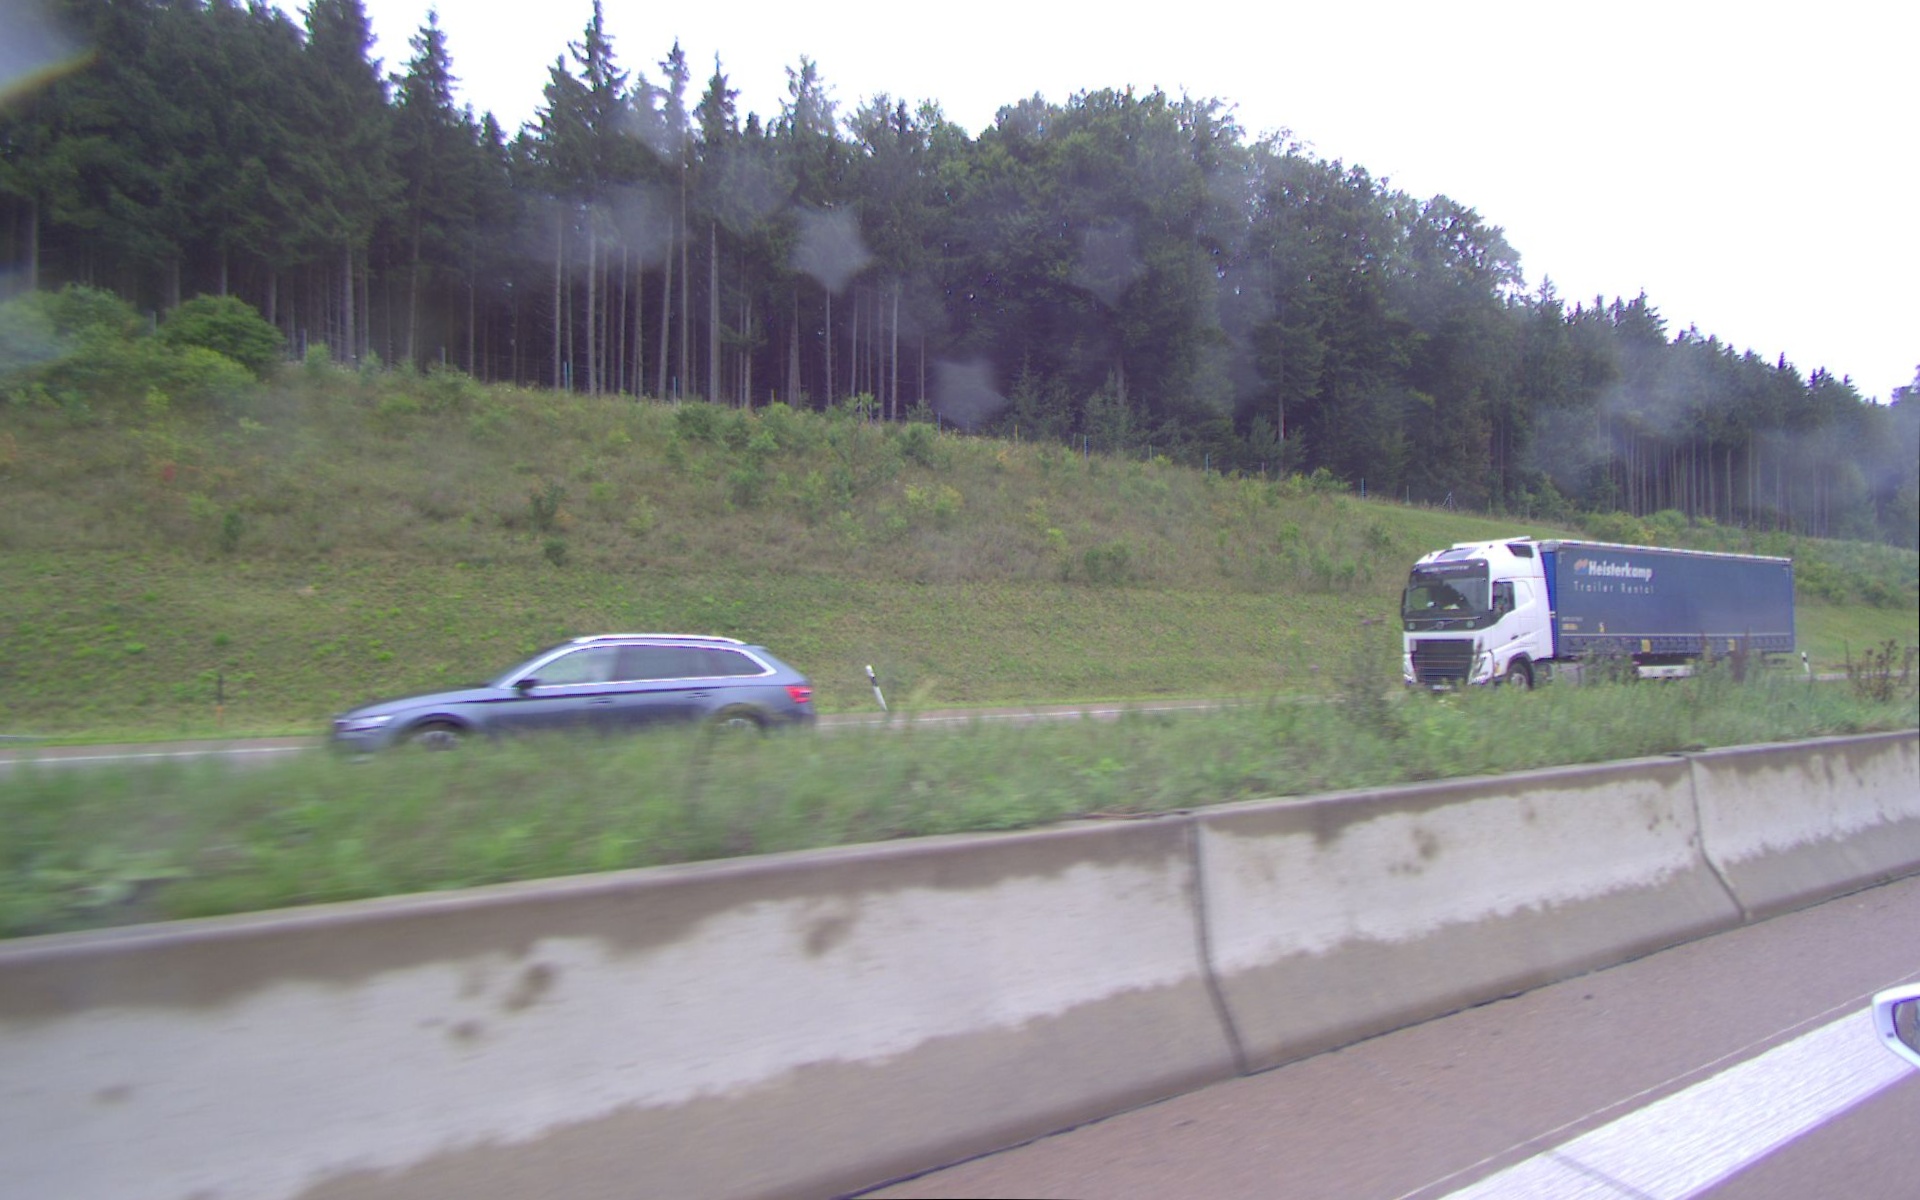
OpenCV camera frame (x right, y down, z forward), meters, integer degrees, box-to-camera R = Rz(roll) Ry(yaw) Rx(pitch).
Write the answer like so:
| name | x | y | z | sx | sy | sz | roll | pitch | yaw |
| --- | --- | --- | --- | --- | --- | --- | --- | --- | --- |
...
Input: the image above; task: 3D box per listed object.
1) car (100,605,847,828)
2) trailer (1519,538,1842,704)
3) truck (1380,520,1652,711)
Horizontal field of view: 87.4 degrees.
| name | x | y | z | sx | sy | sz | roll | pitch | yaw |
| --- | --- | --- | --- | --- | --- | --- | --- | --- | --- |
| car | -4.489 | 1.017 | 10.349 | 6.309 | 1.715 | 2.039 | 2 | 0 | -30 |
| trailer | 22.721 | 0.744 | 31.206 | 13.421 | 4.397 | 2.905 | 2 | 0 | -31 |
| truck | 14.752 | 0.453 | 26.506 | 7.317 | 4.448 | 2.910 | 2 | 0 | -30 |
